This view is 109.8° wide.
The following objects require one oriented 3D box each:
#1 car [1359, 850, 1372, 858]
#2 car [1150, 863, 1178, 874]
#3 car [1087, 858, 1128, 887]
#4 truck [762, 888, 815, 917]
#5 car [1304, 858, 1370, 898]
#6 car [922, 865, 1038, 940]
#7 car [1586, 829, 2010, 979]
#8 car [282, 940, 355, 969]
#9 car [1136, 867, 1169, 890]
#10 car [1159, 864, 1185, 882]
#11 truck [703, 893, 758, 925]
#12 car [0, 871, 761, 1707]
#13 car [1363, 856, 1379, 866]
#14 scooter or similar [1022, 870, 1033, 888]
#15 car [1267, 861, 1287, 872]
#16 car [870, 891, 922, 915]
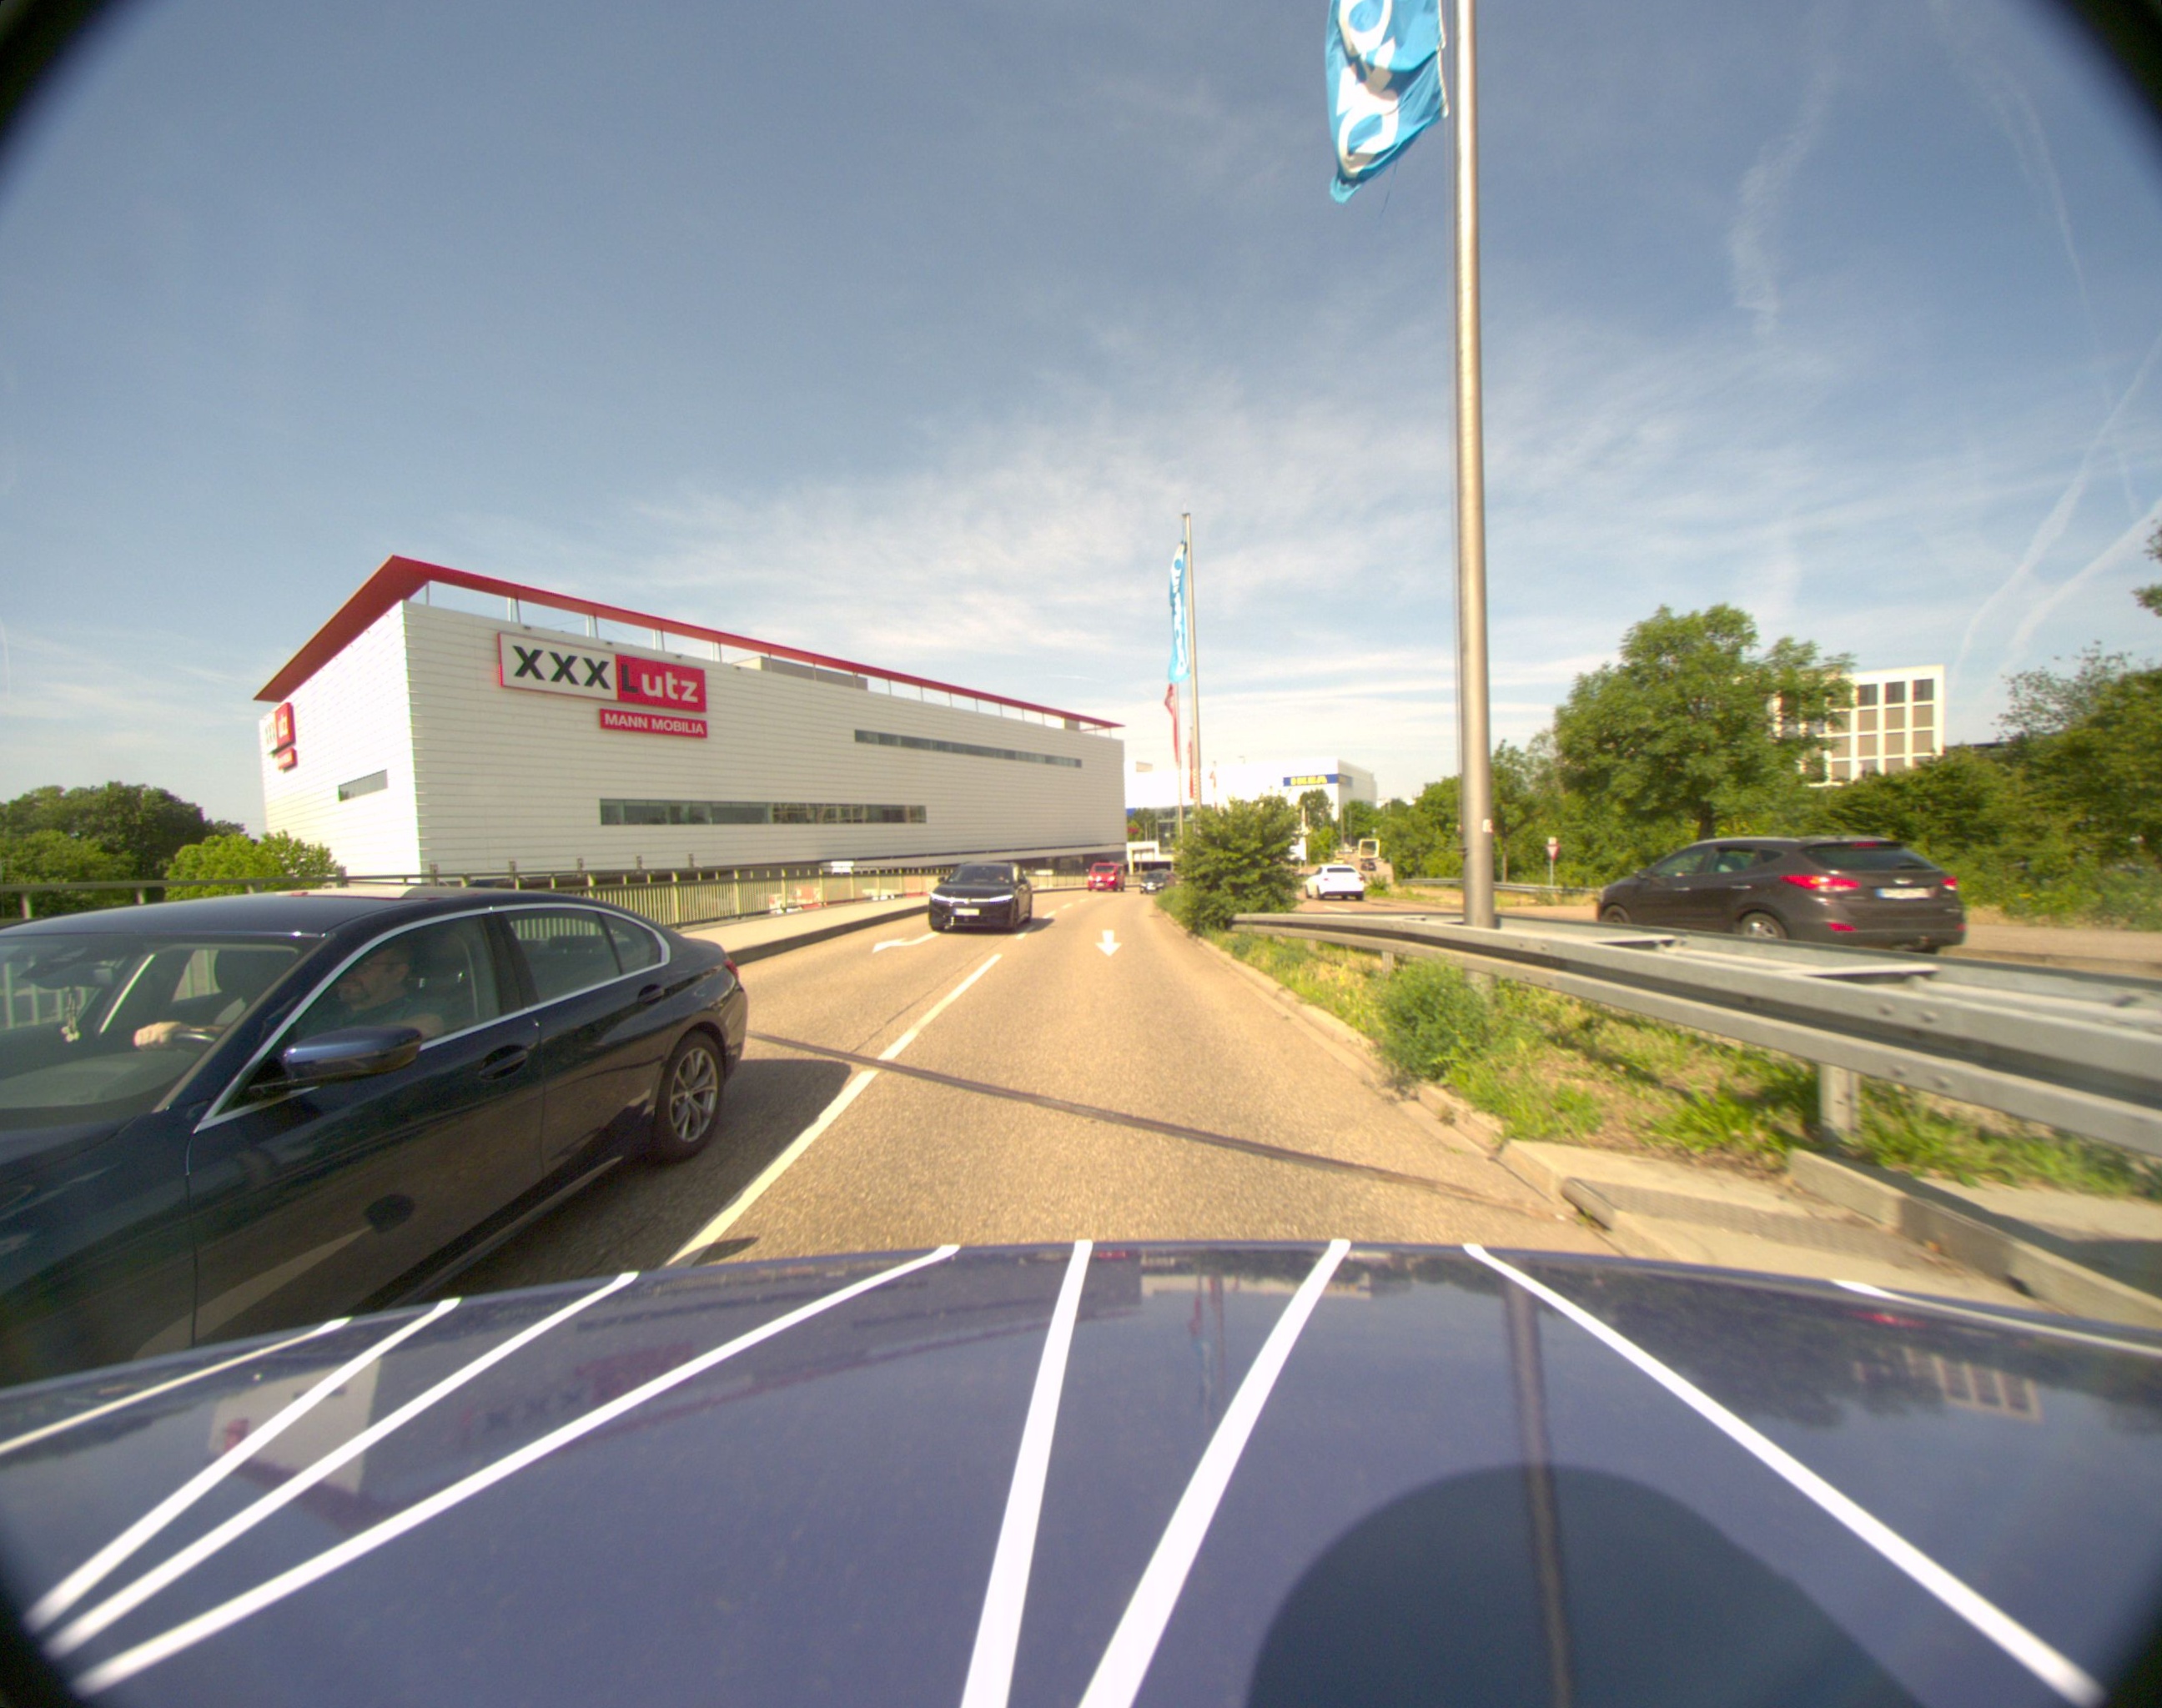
[{"bbox_3d":[62.107,0.014,166.086,1.822,1.466,4.007,0,2,33],"label":"car"},{"bbox_3d":[14.364,2.523,131.327,4.405,1.722,1.866,-1,2,40],"label":"car"},{"bbox_3d":[1.914,1.307,52.969,1.986,1.895,4.150,-1,-2,14],"label":"car"},{"bbox_3d":[-32.116,5.228,83.351,5.995,2.911,2.136,-1,2,34],"label":"truck"},{"bbox_3d":[10.745,0.982,32.176,1.800,1.542,4.002,1,0,6],"label":"car"},{"bbox_3d":[-2.204,1.036,17.713,1.860,1.520,4.146,-1,-1,4],"label":"car"},{"bbox_3d":[9.288,0.593,10.473,1.886,1.625,4.225,-1,-1,1],"label":"car"},{"bbox_3d":[-61.099,8.049,60.894,1.802,1.628,3.832,0,3,37],"label":"car"},{"bbox_3d":[4.709,1.633,49.641,1.848,1.409,4.005,2,-2,9],"label":"car"},{"bbox_3d":[8.948,1.848,74.290,1.775,1.648,4.151,0,-2,18],"label":"car"},{"bbox_3d":[-35.680,5.506,77.316,5.995,2.911,2.136,-1,2,34],"label":"truck"},{"bbox_3d":[-2.925,0.946,2.372,1.792,1.475,4.518,-2,2,1],"label":"car"},{"bbox_3d":[49.785,1.226,130.558,1.859,1.521,4.145,-1,2,9],"label":"car"},{"bbox_3d":[-3.530,1.652,50.196,0.512,1.136,1.482,-1,-1,5],"label":"scooter or similar"},{"bbox_3d":[30.314,1.857,117.328,1.822,1.466,4.006,0,2,31],"label":"car"},{"bbox_3d":[-21.683,5.671,88.915,5.996,2.606,2.135,-1,2,31],"label":"car"}]
